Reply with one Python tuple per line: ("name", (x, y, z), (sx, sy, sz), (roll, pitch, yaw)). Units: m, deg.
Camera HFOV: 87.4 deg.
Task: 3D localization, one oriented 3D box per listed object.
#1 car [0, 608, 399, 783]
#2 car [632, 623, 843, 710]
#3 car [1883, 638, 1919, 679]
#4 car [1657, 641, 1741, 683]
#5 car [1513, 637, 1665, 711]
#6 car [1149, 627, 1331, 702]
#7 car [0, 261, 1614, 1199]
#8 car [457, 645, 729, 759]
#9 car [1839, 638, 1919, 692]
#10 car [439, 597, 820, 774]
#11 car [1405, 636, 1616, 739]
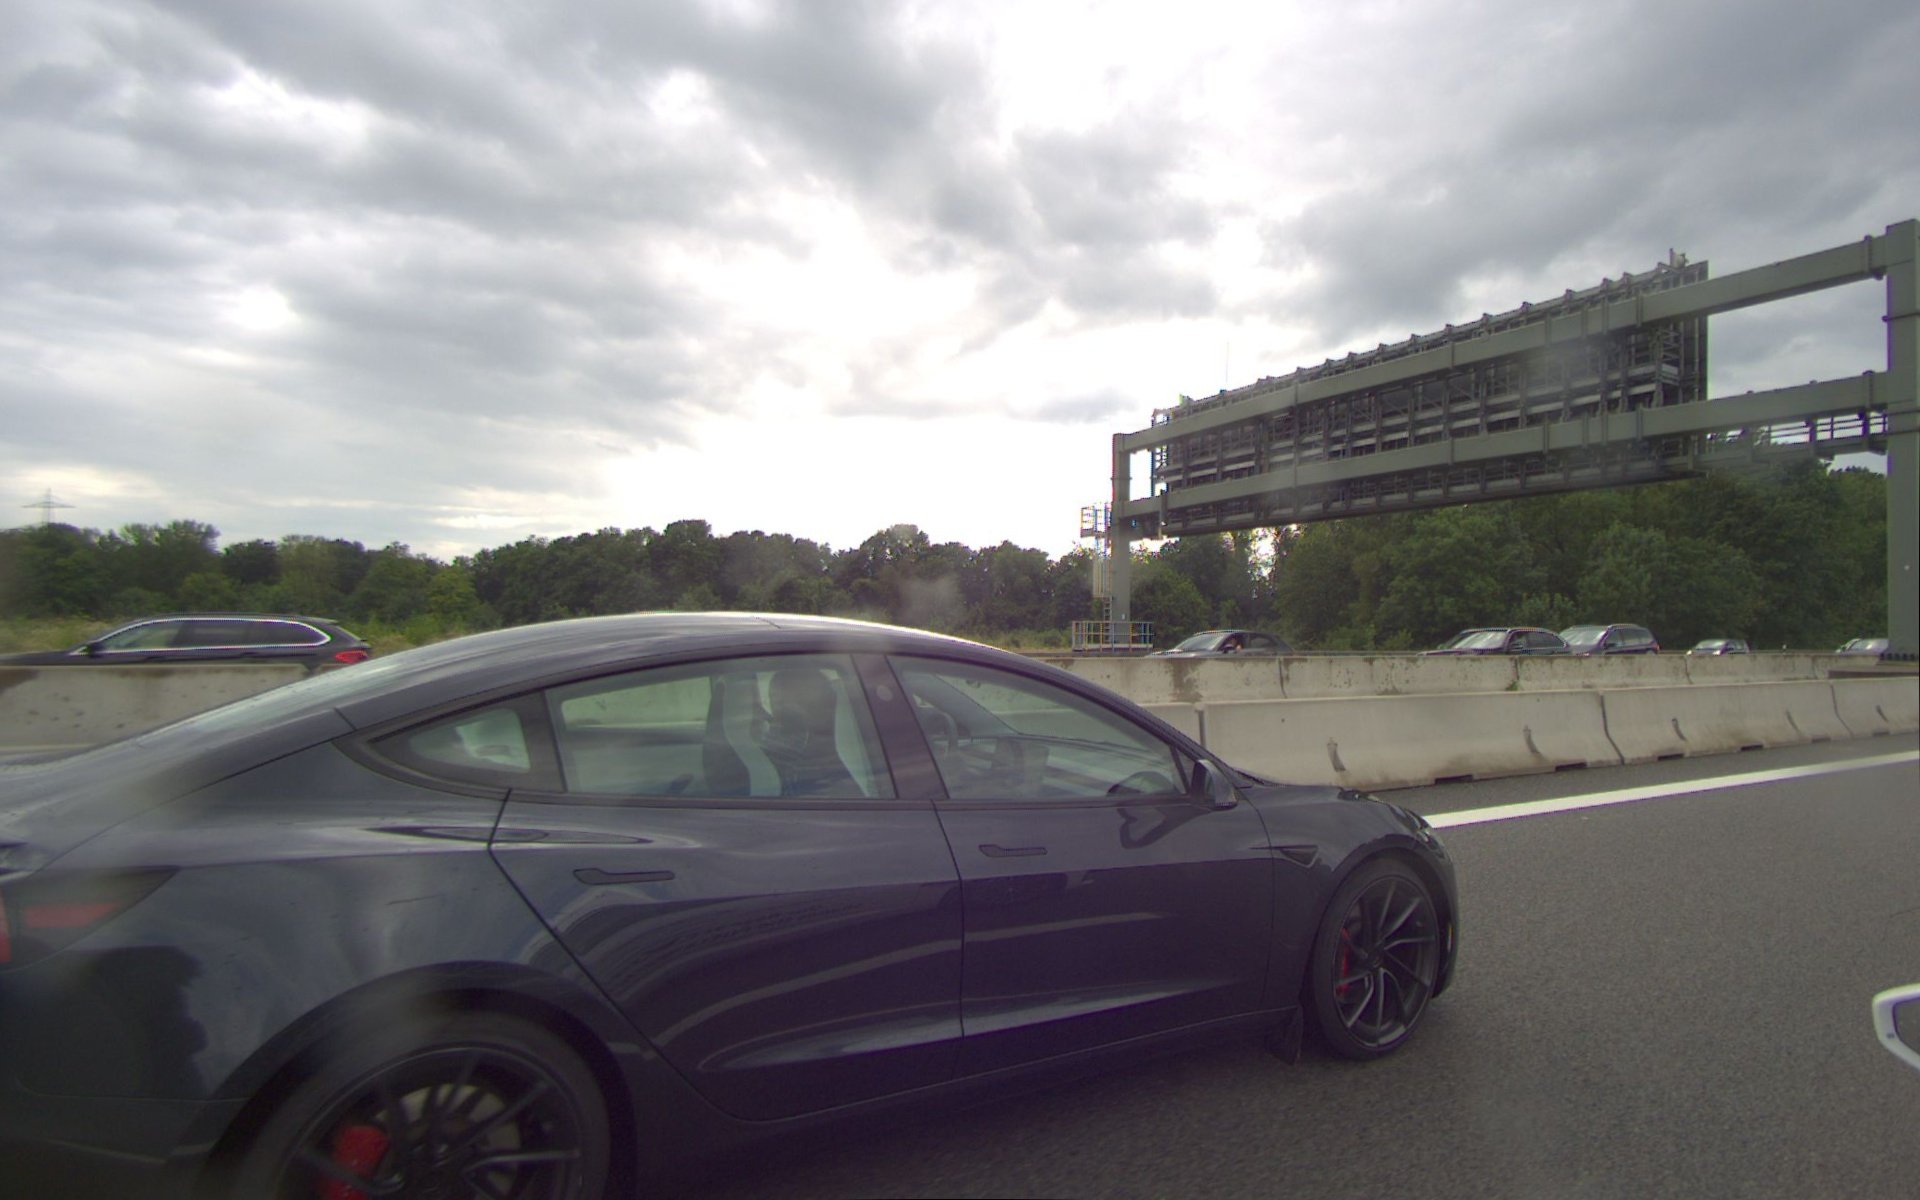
("car", (-10.440, 1.175, 13.484), (5.038, 2.040, 1.984), (2, -1, -30))
("car", (-5.680, 1.644, 25.697), (4.771, 1.978, 2.419), (2, -1, -30))
("car", (44.172, 2.649, 45.935), (4.286, 1.768, 1.670), (2, -1, -30))
("car", (38.494, 3.187, 52.295), (4.507, 2.040, 1.899), (2, -1, -30))
("car", (19.284, 2.213, 30.733), (4.704, 2.040, 1.984), (2, -1, -30))
("car", (6.699, 1.497, 23.997), (3.953, 1.617, 1.984), (2, -1, -30))
("car", (-0.098, 0.445, 3.558), (5.102, 1.845, 1.984), (2, -1, -30))
("car", (-7.111, 1.877, 19.576), (4.704, 1.898, 1.984), (2, -1, -30))
("car", (31.000, 2.119, 33.208), (3.953, 1.617, 1.721), (2, -1, -30))
("car", (-4.180, 0.976, 12.858), (4.311, 1.916, 1.984), (2, -1, -30))
("car", (12.349, 1.862, 22.466), (4.704, 2.040, 1.984), (2, -1, -30))
